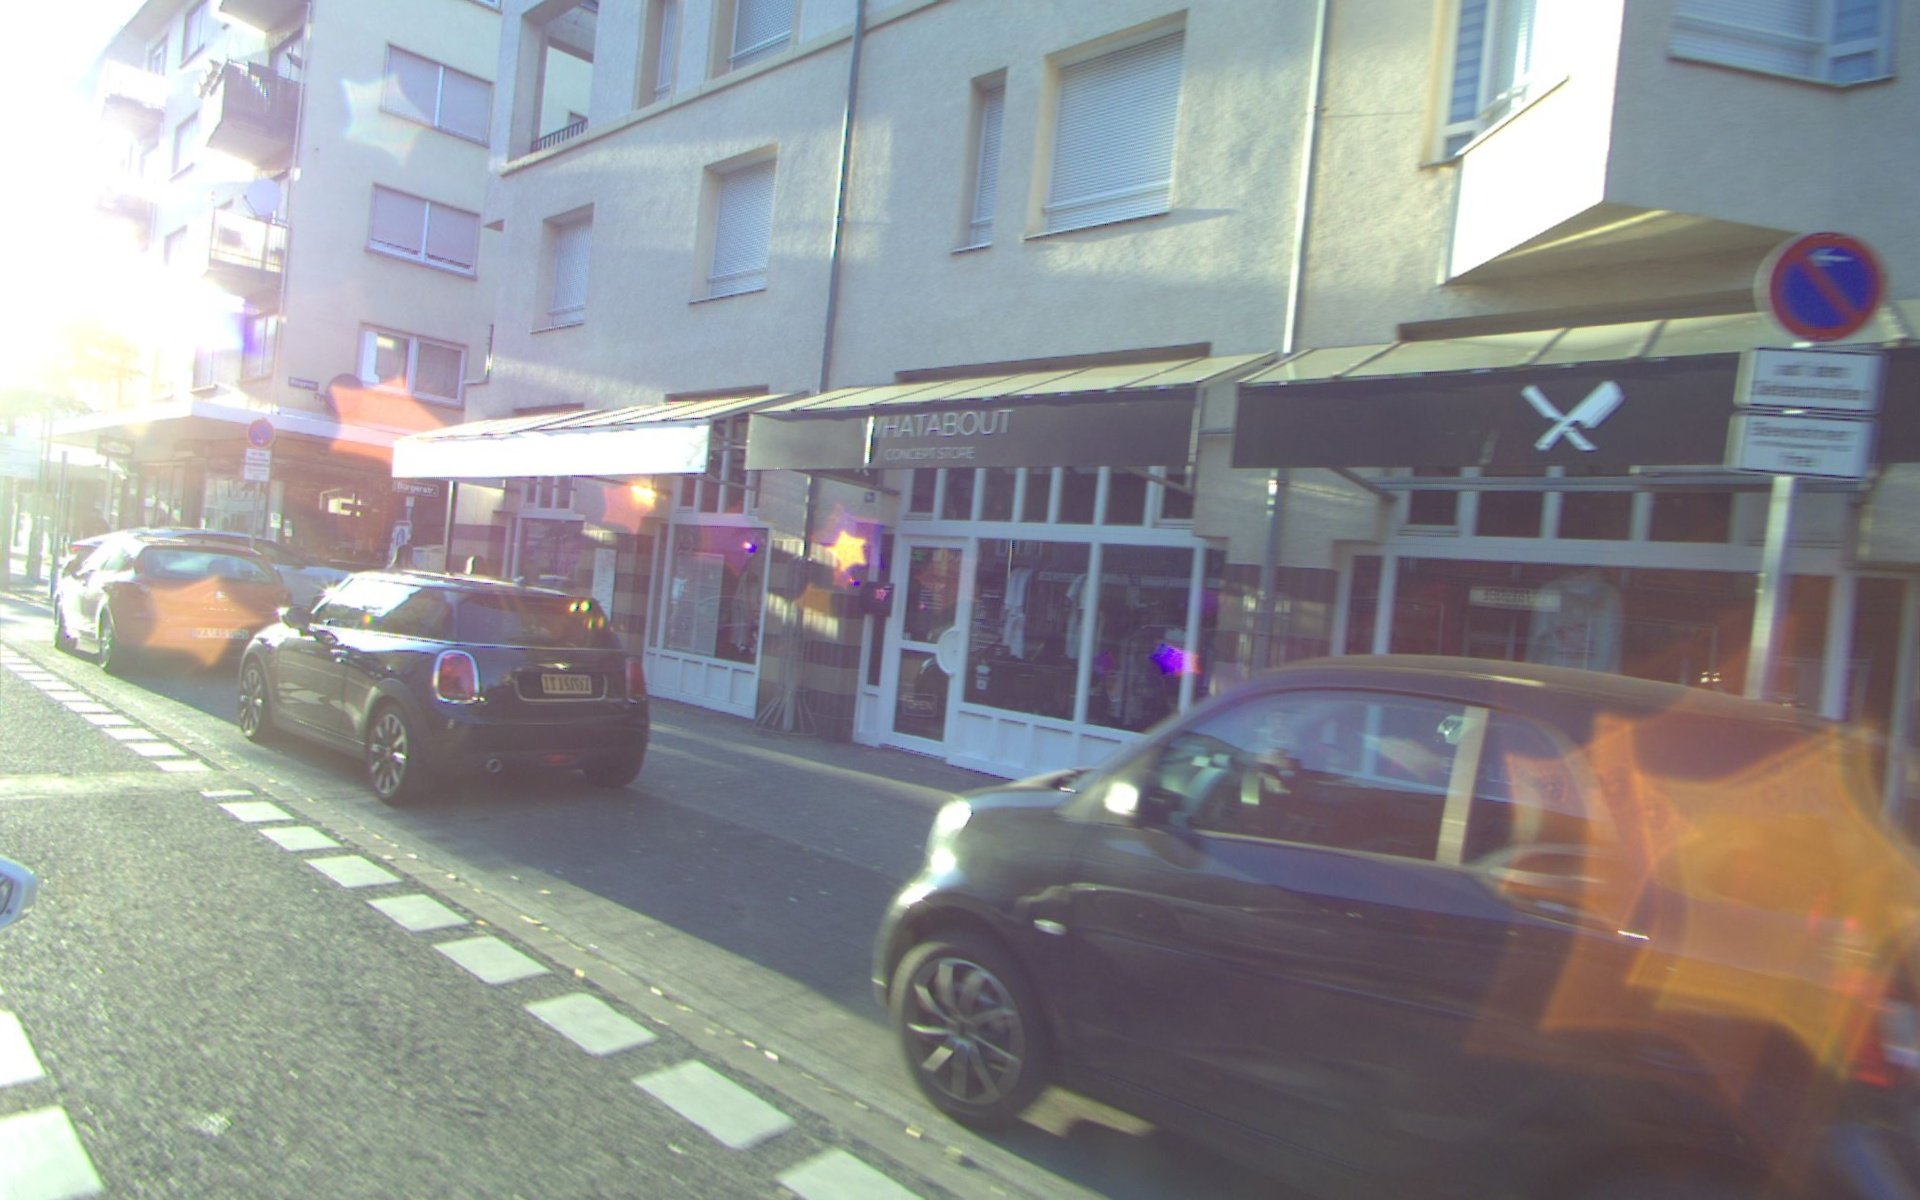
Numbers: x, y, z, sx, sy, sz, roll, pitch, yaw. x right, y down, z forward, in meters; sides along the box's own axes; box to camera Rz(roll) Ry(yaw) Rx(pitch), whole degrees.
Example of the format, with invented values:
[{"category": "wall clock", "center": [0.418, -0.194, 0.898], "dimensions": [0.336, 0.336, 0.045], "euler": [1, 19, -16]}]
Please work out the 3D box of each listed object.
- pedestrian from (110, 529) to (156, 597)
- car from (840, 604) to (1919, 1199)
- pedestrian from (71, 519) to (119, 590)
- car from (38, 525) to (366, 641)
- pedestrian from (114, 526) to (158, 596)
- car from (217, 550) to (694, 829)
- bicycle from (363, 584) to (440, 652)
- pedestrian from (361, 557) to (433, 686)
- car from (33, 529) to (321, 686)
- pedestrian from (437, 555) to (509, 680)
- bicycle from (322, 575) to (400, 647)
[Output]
[{"category": "pedestrian", "center": [-21.774, -0.973, 26.477], "dimensions": [0.766, 1.679, 0.641], "euler": [6, -1, 39]}, {"category": "car", "center": [1.224, 0.939, 3.073], "dimensions": [2.762, 1.569, 1.566], "euler": [5, 0, 38]}, {"category": "pedestrian", "center": [-23.536, -1.242, 27.380], "dimensions": [0.641, 1.828, 0.707], "euler": [6, -1, 39]}, {"category": "car", "center": [-13.131, -0.226, 17.701], "dimensions": [1.827, 1.631, 4.172], "euler": [5, 0, 32]}, {"category": "pedestrian", "center": [-22.468, -1.056, 27.432], "dimensions": [0.518, 1.803, 0.582], "euler": [7, -1, 19]}, {"category": "car", "center": [-3.888, 0.507, 7.525], "dimensions": [3.693, 1.439, 1.721], "euler": [5, 0, 38]}, {"category": "bicycle", "center": [-9.956, 0.302, 17.916], "dimensions": [1.816, 1.046, 0.391], "euler": [5, 0, 36]}, {"category": "pedestrian", "center": [-7.091, 0.274, 12.679], "dimensions": [0.547, 1.549, 0.538], "euler": [6, 0, 44]}, {"category": "car", "center": [-9.281, 0.044, 11.817], "dimensions": [3.973, 1.439, 1.721], "euler": [5, 0, 38]}, {"category": "pedestrian", "center": [-6.352, 0.228, 13.125], "dimensions": [0.642, 1.549, 0.538], "euler": [6, 0, 44]}, {"category": "bicycle", "center": [-10.356, 0.177, 17.378], "dimensions": [1.816, 1.063, 0.391], "euler": [5, 0, 36]}]
